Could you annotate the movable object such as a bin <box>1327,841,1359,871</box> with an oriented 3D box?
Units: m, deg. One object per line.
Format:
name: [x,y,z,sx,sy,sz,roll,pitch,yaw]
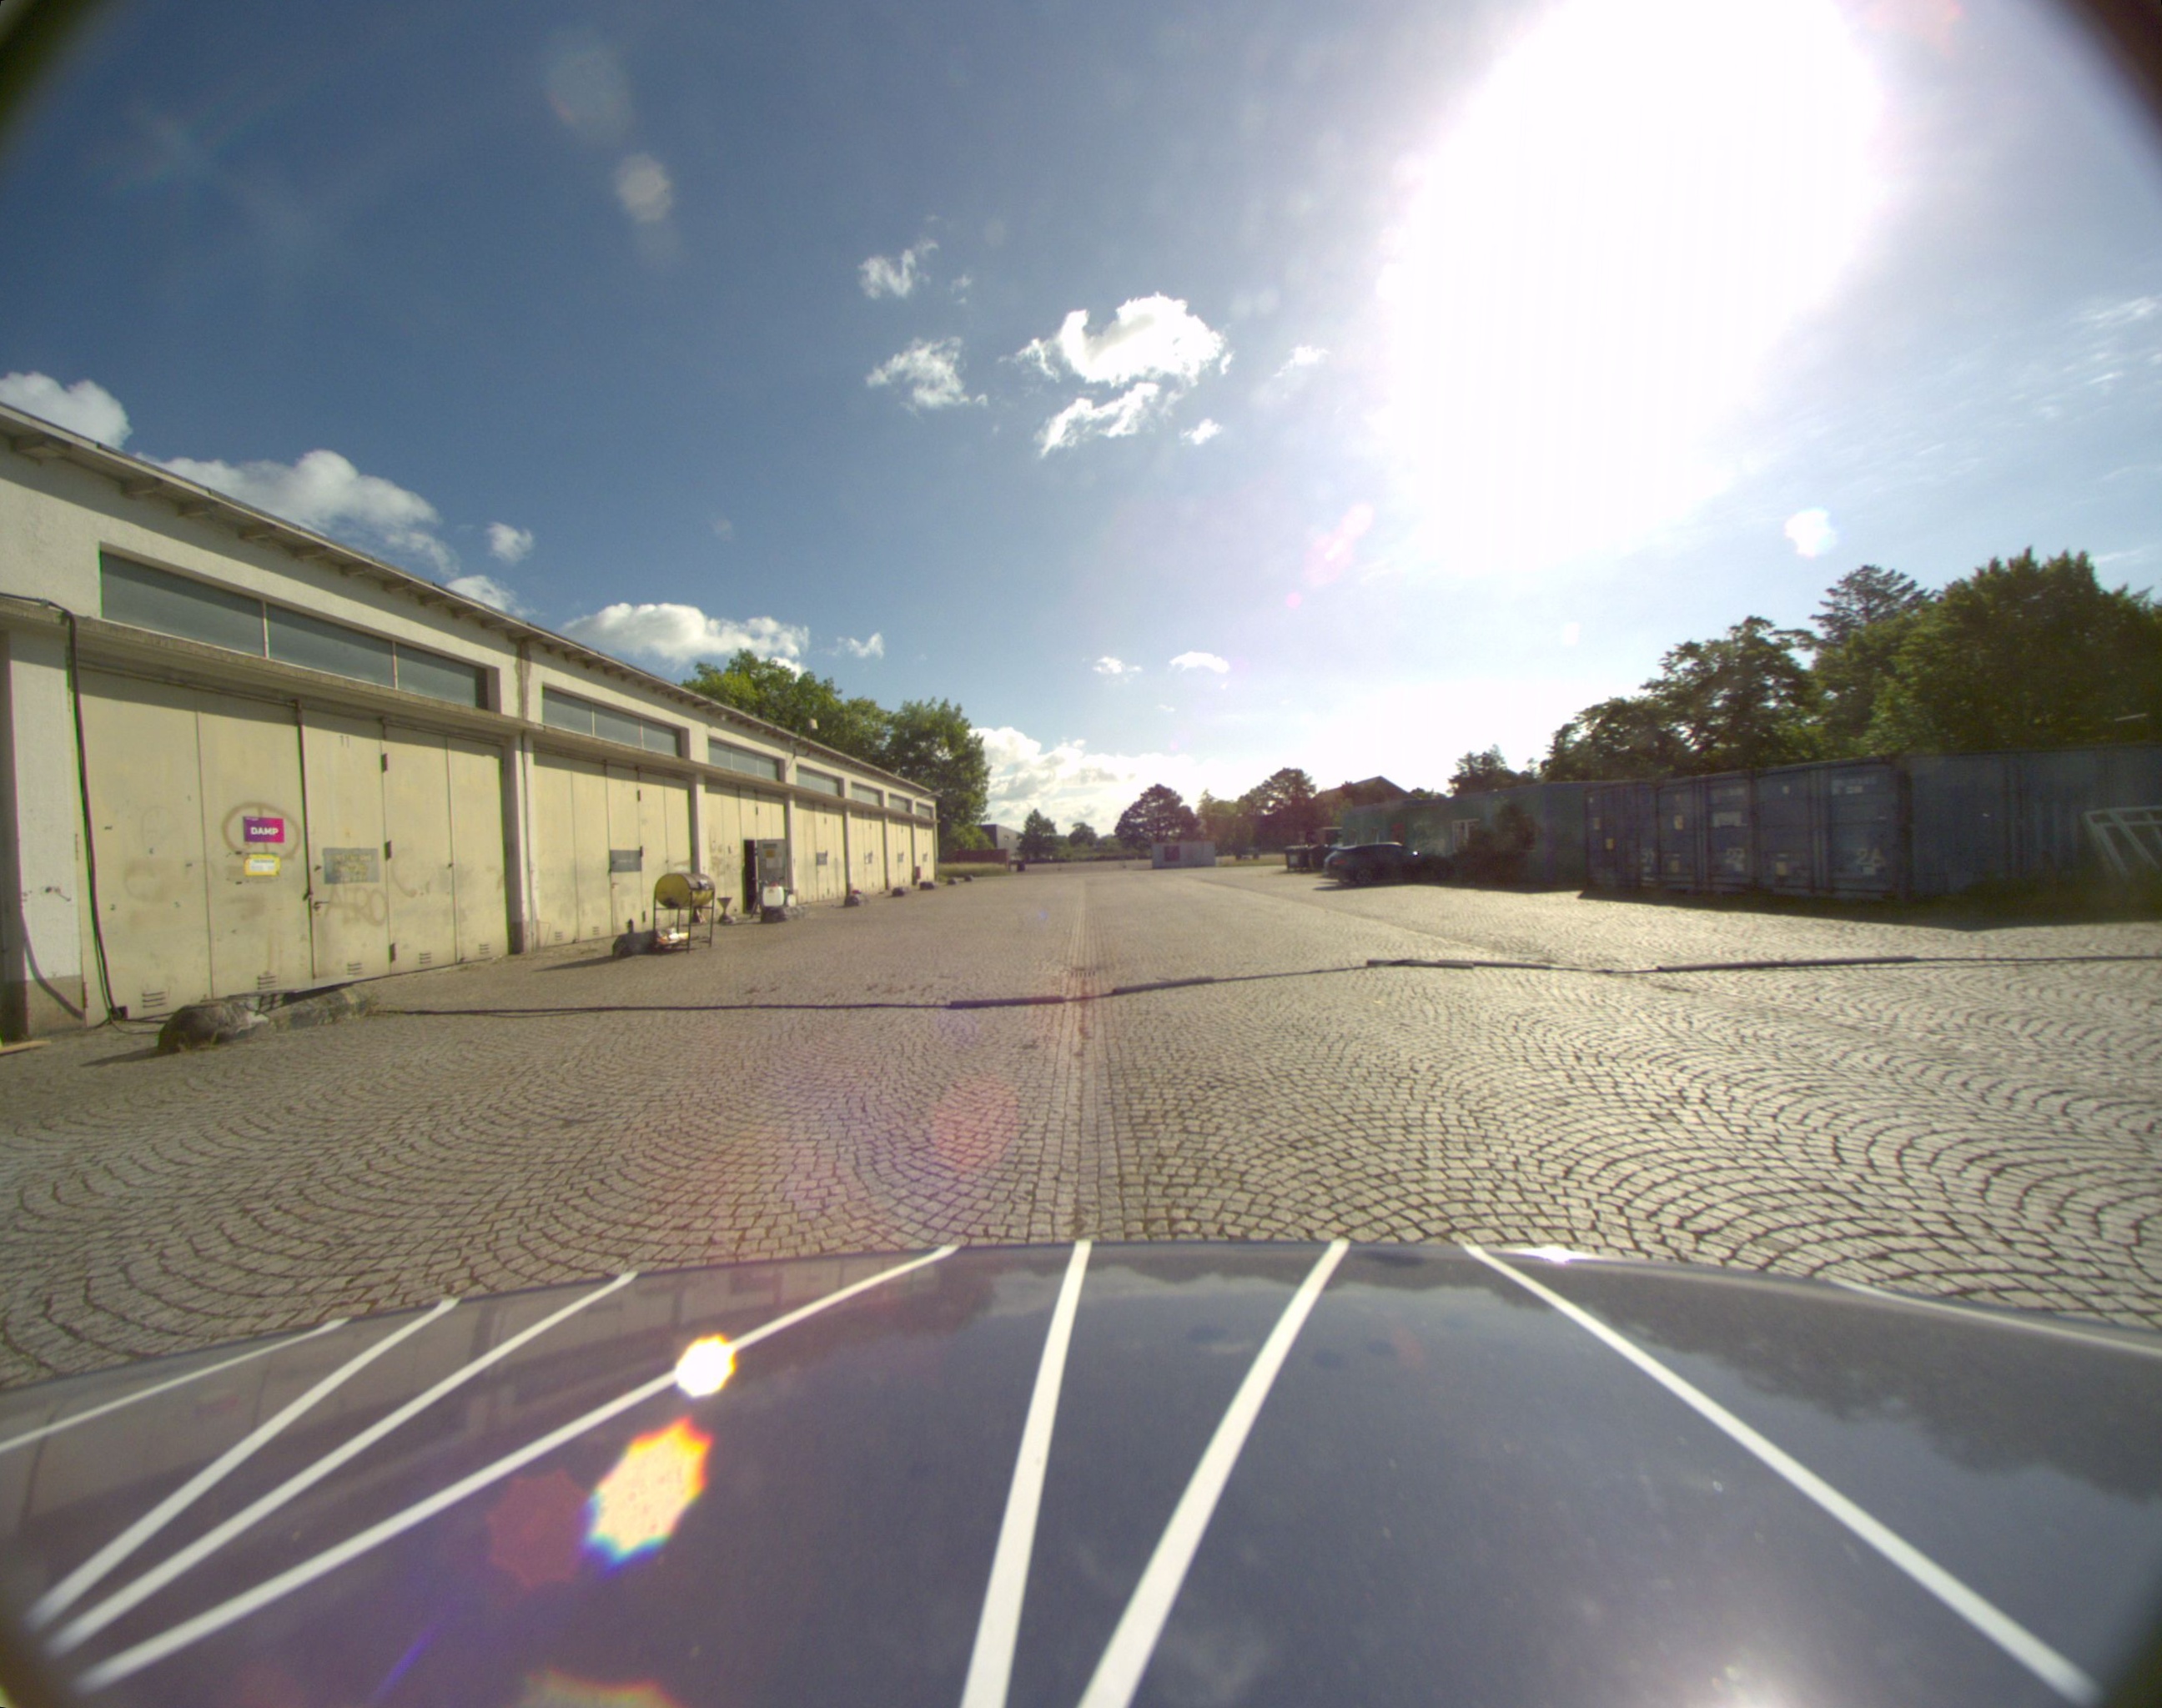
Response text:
movable object such as a bin: [13.642,0.102,39.582,0.885,1.449,1.439,-4,1,-10]

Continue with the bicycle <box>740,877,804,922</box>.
bicycle: [-8.525,1.240,21.071,0.665,1.062,1.825,-3,1,13]

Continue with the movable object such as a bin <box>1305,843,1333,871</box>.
movable object such as a bin: [12.899,0.154,41.264,1.020,1.449,1.440,-3,1,0]

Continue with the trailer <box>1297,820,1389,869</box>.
trailer: [15.299,-0.557,44.506,4.649,2.553,1.950,-3,1,-4]

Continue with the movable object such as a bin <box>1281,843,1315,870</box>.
movable object such as a bin: [12.412,0.164,43.377,1.435,1.449,1.158,-2,2,43]

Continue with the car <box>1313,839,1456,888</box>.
car: [10.693,0.308,26.997,4.263,1.441,1.931,-3,1,-2]

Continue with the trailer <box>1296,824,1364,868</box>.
trailer: [15.340,-0.487,46.959,3.393,2.456,2.044,-3,1,1]
